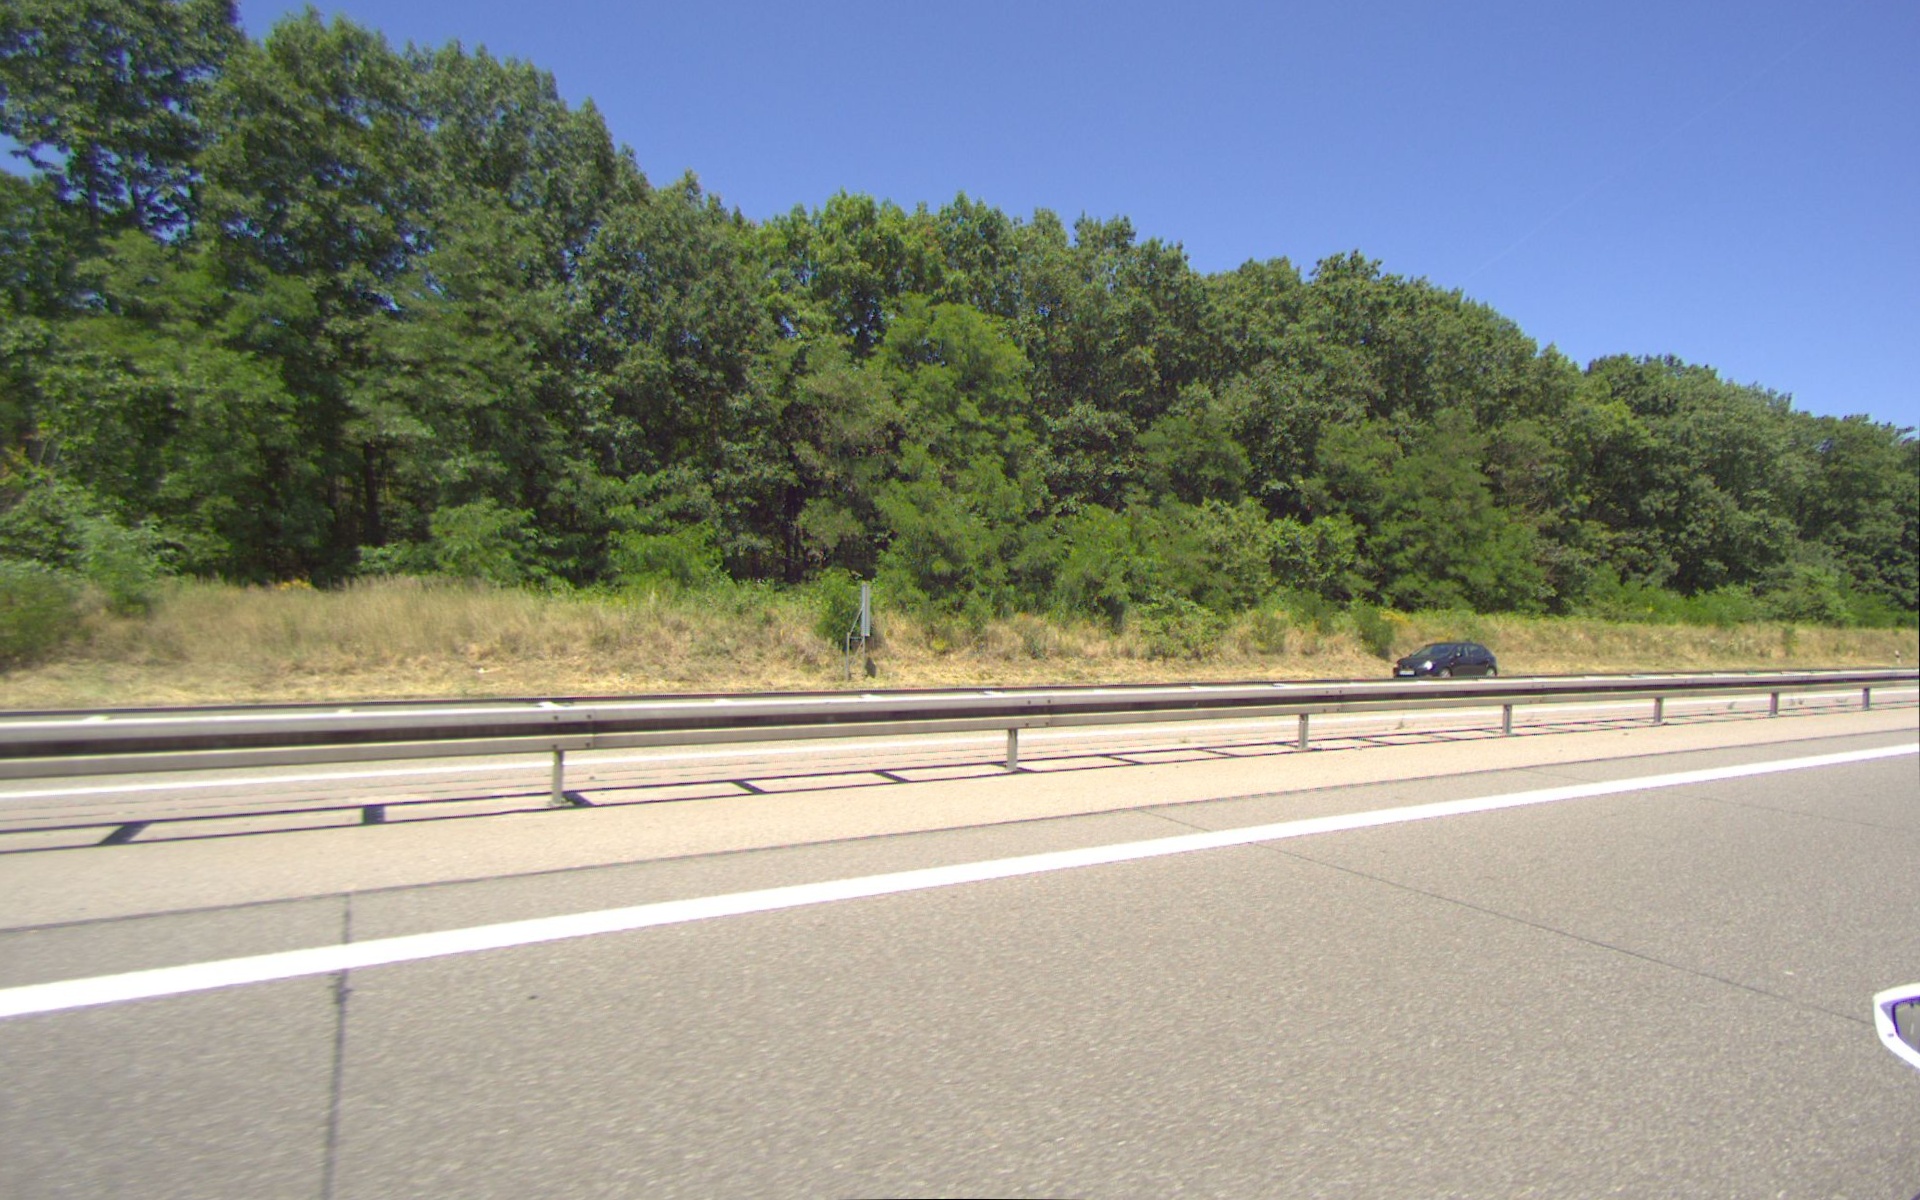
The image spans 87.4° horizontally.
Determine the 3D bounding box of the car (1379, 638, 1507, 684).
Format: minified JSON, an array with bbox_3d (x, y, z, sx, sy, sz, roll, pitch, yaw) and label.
[{"bbox_3d":[15.811,1.963,32.834,4.063,1.413,1.806,2,-3,-30],"label":"car"}]
